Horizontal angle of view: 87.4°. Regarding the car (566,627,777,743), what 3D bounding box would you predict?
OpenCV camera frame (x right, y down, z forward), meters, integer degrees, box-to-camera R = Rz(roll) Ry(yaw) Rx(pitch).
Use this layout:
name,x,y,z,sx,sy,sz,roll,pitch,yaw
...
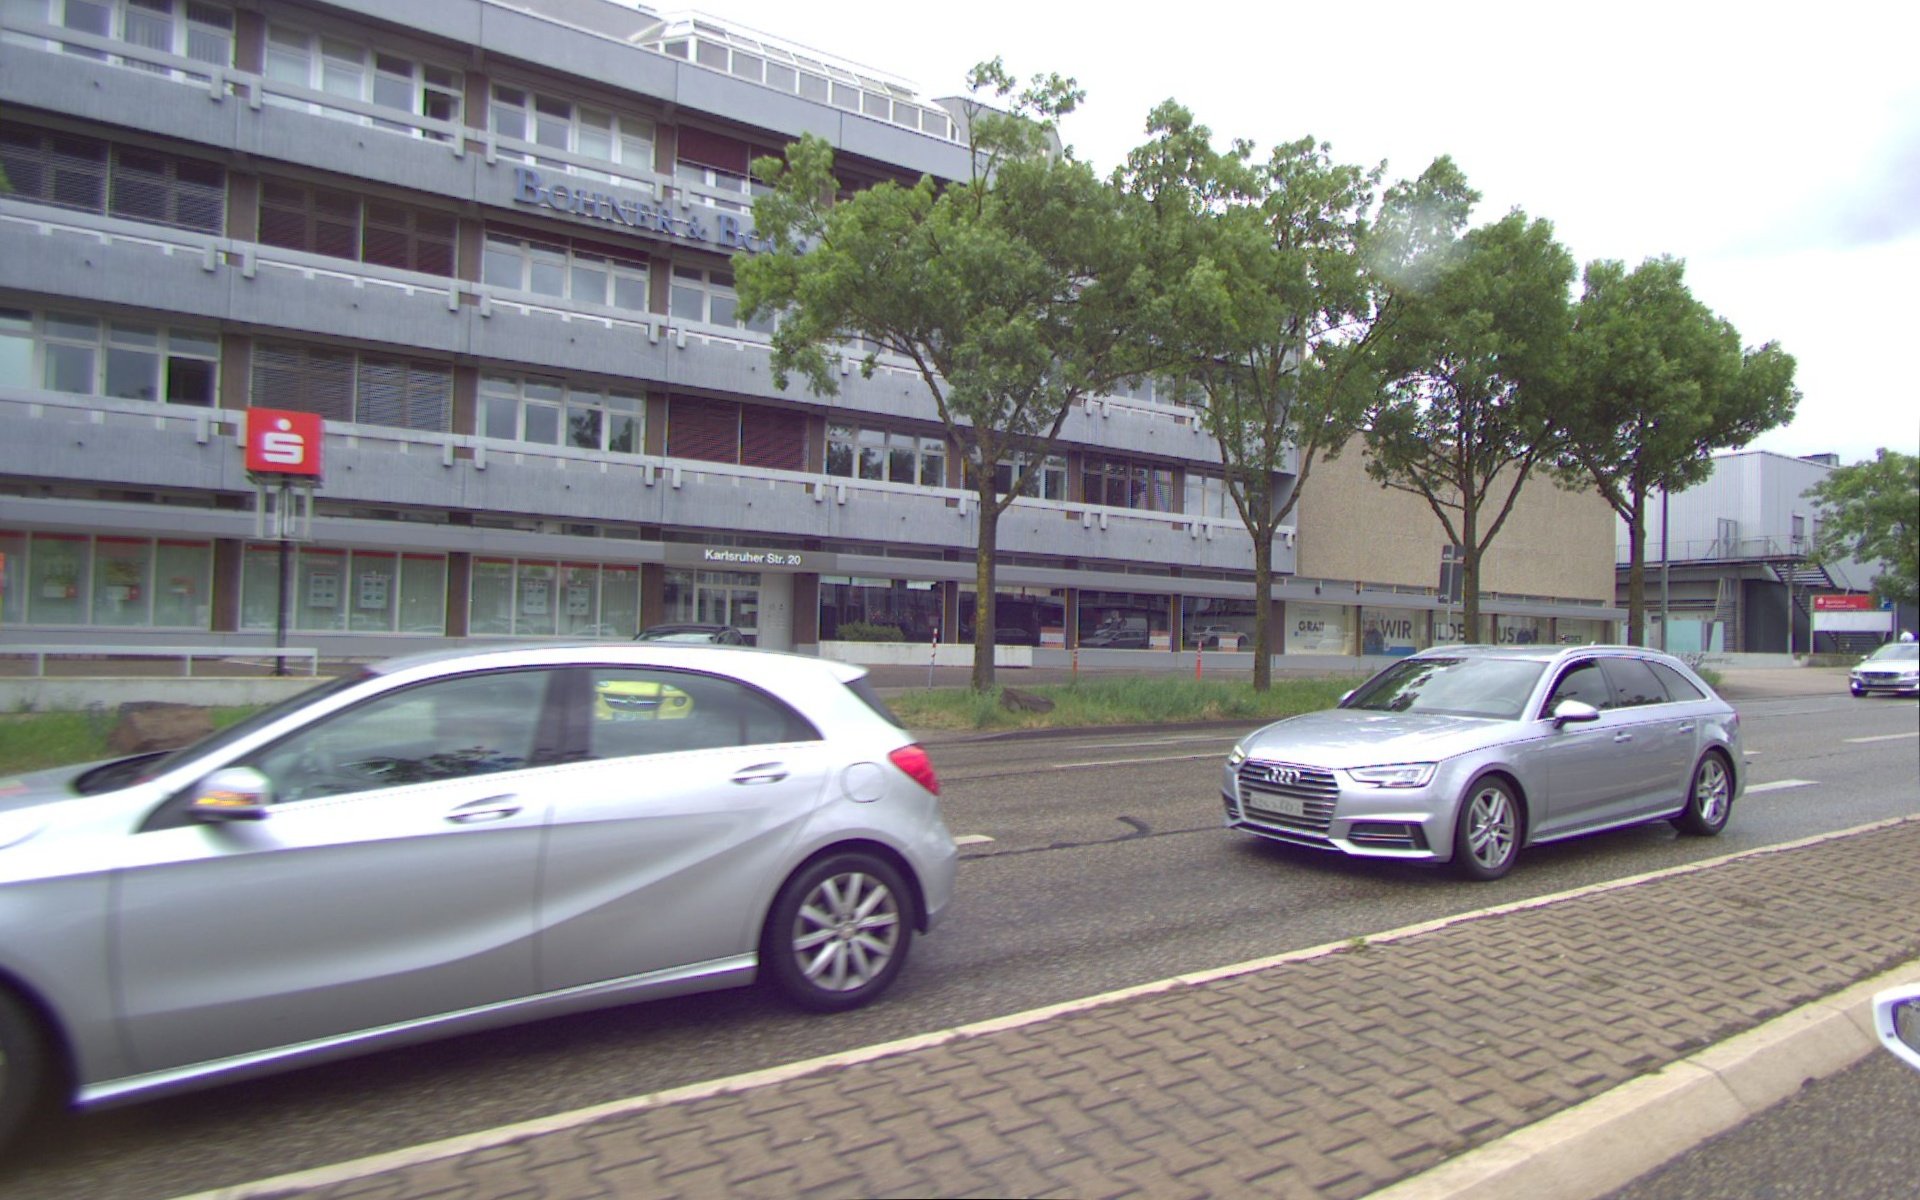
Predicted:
name,x,y,z,sx,sy,sz,roll,pitch,yaw
car,-4.327,1.244,15.790,1.861,1.572,4.003,0,-2,5

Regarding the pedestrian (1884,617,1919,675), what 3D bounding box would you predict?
name,x,y,z,sx,sy,sz,roll,pitch,yaw
pedestrian,37.218,1.793,39.674,0.837,2.247,0.854,1,-1,-32

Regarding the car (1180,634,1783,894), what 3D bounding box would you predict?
name,x,y,z,sx,sy,sz,roll,pitch,yaw
car,4.006,1.025,7.473,4.733,1.416,1.715,2,-4,-30

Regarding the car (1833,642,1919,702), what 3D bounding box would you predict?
name,x,y,z,sx,sy,sz,roll,pitch,yaw
car,25.991,1.941,27.580,3.954,1.472,1.934,2,-1,-31
